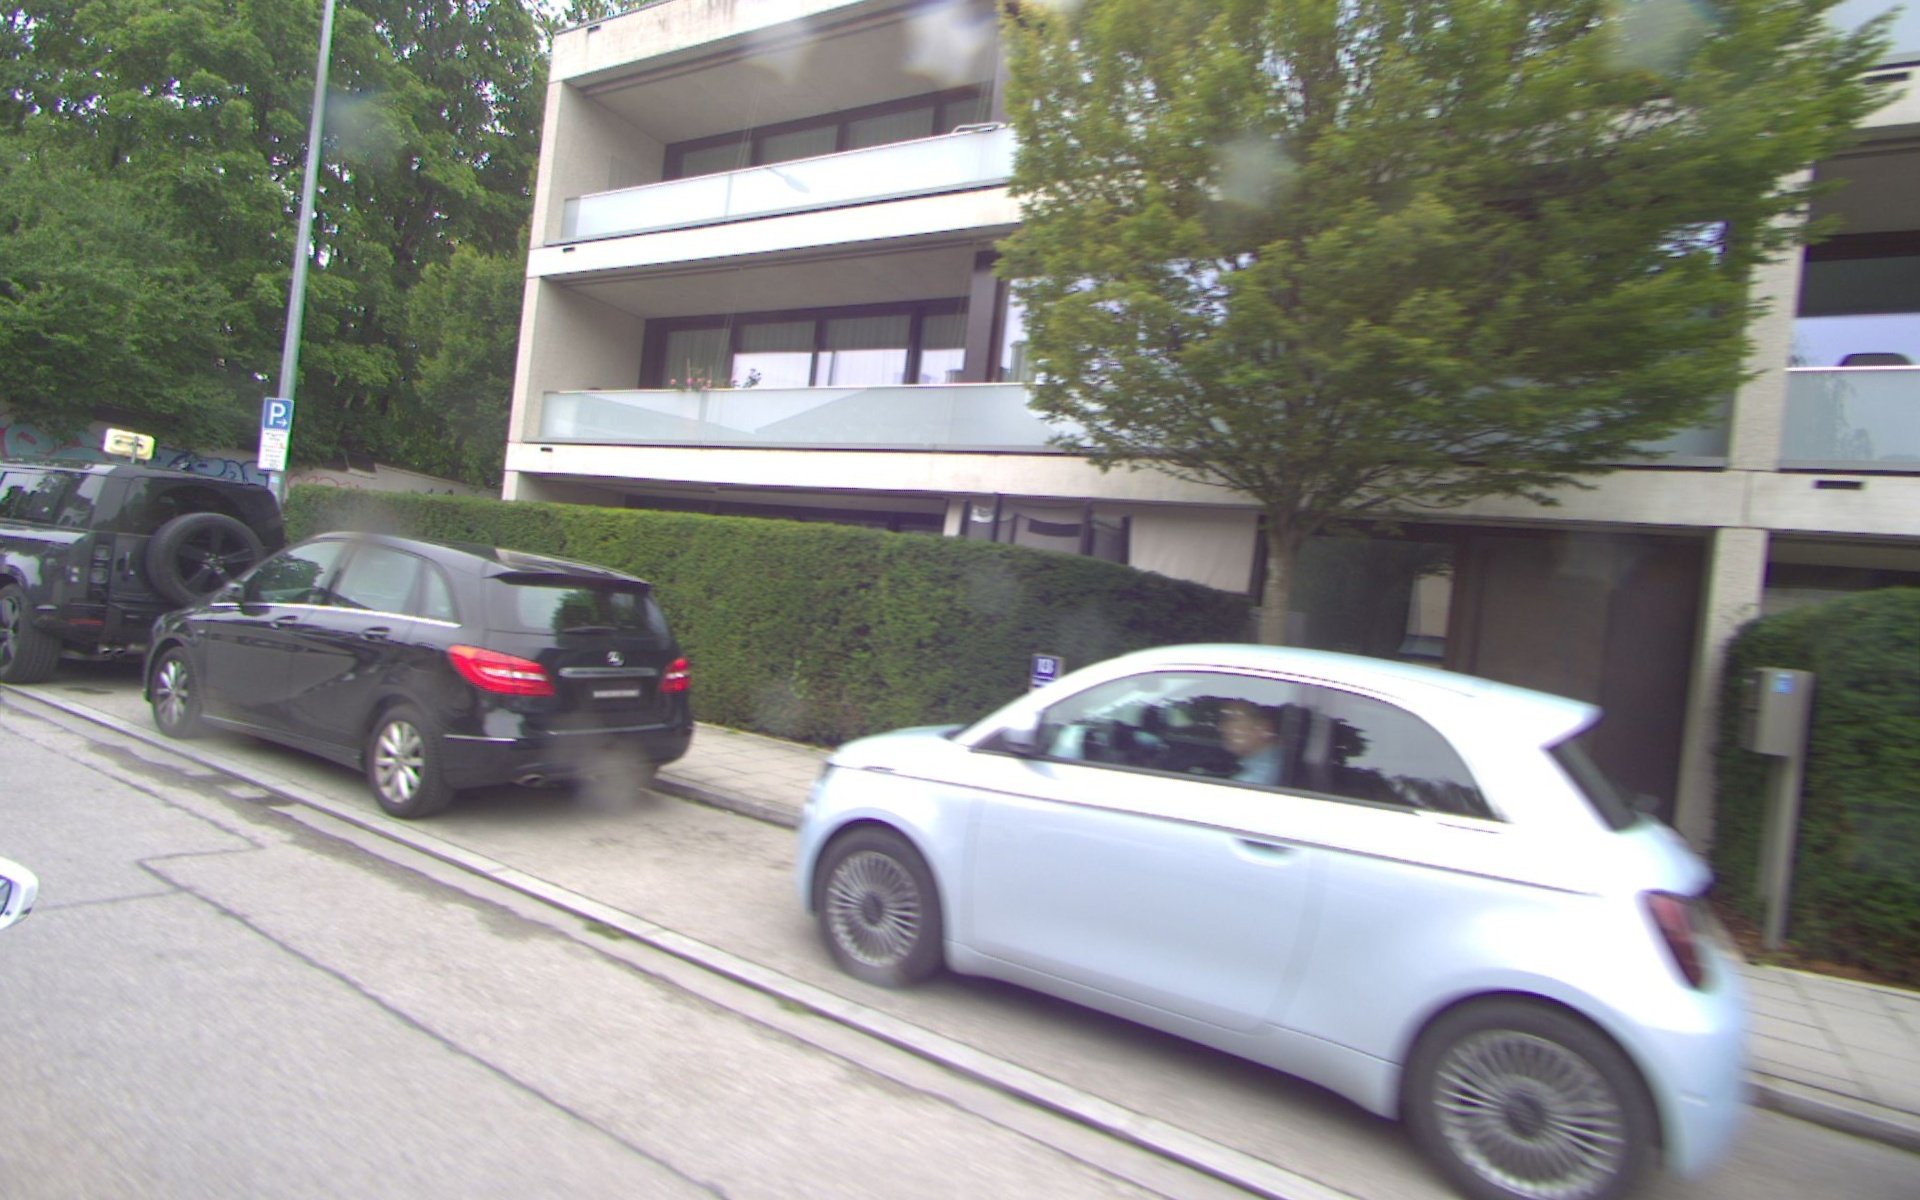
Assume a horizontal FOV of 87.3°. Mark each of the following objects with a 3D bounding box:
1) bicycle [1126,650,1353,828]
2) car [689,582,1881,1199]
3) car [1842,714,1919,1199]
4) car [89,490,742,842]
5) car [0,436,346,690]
[{"bbox_3d":[2.393,1.124,8.428,0.882,1.210,2.028,7,0,43],"label":"bicycle"},{"bbox_3d":[0.953,0.930,4.187,3.823,1.499,1.750,7,0,31],"label":"car"},{"bbox_3d":[4.683,1.325,1.620,4.521,1.498,1.750,8,0,32],"label":"car"},{"bbox_3d":[-3.892,0.281,6.980,4.491,1.558,1.751,7,0,29],"label":"car"},{"bbox_3d":[-8.404,-0.421,9.634,4.991,1.894,1.992,6,-1,29],"label":"car"}]
